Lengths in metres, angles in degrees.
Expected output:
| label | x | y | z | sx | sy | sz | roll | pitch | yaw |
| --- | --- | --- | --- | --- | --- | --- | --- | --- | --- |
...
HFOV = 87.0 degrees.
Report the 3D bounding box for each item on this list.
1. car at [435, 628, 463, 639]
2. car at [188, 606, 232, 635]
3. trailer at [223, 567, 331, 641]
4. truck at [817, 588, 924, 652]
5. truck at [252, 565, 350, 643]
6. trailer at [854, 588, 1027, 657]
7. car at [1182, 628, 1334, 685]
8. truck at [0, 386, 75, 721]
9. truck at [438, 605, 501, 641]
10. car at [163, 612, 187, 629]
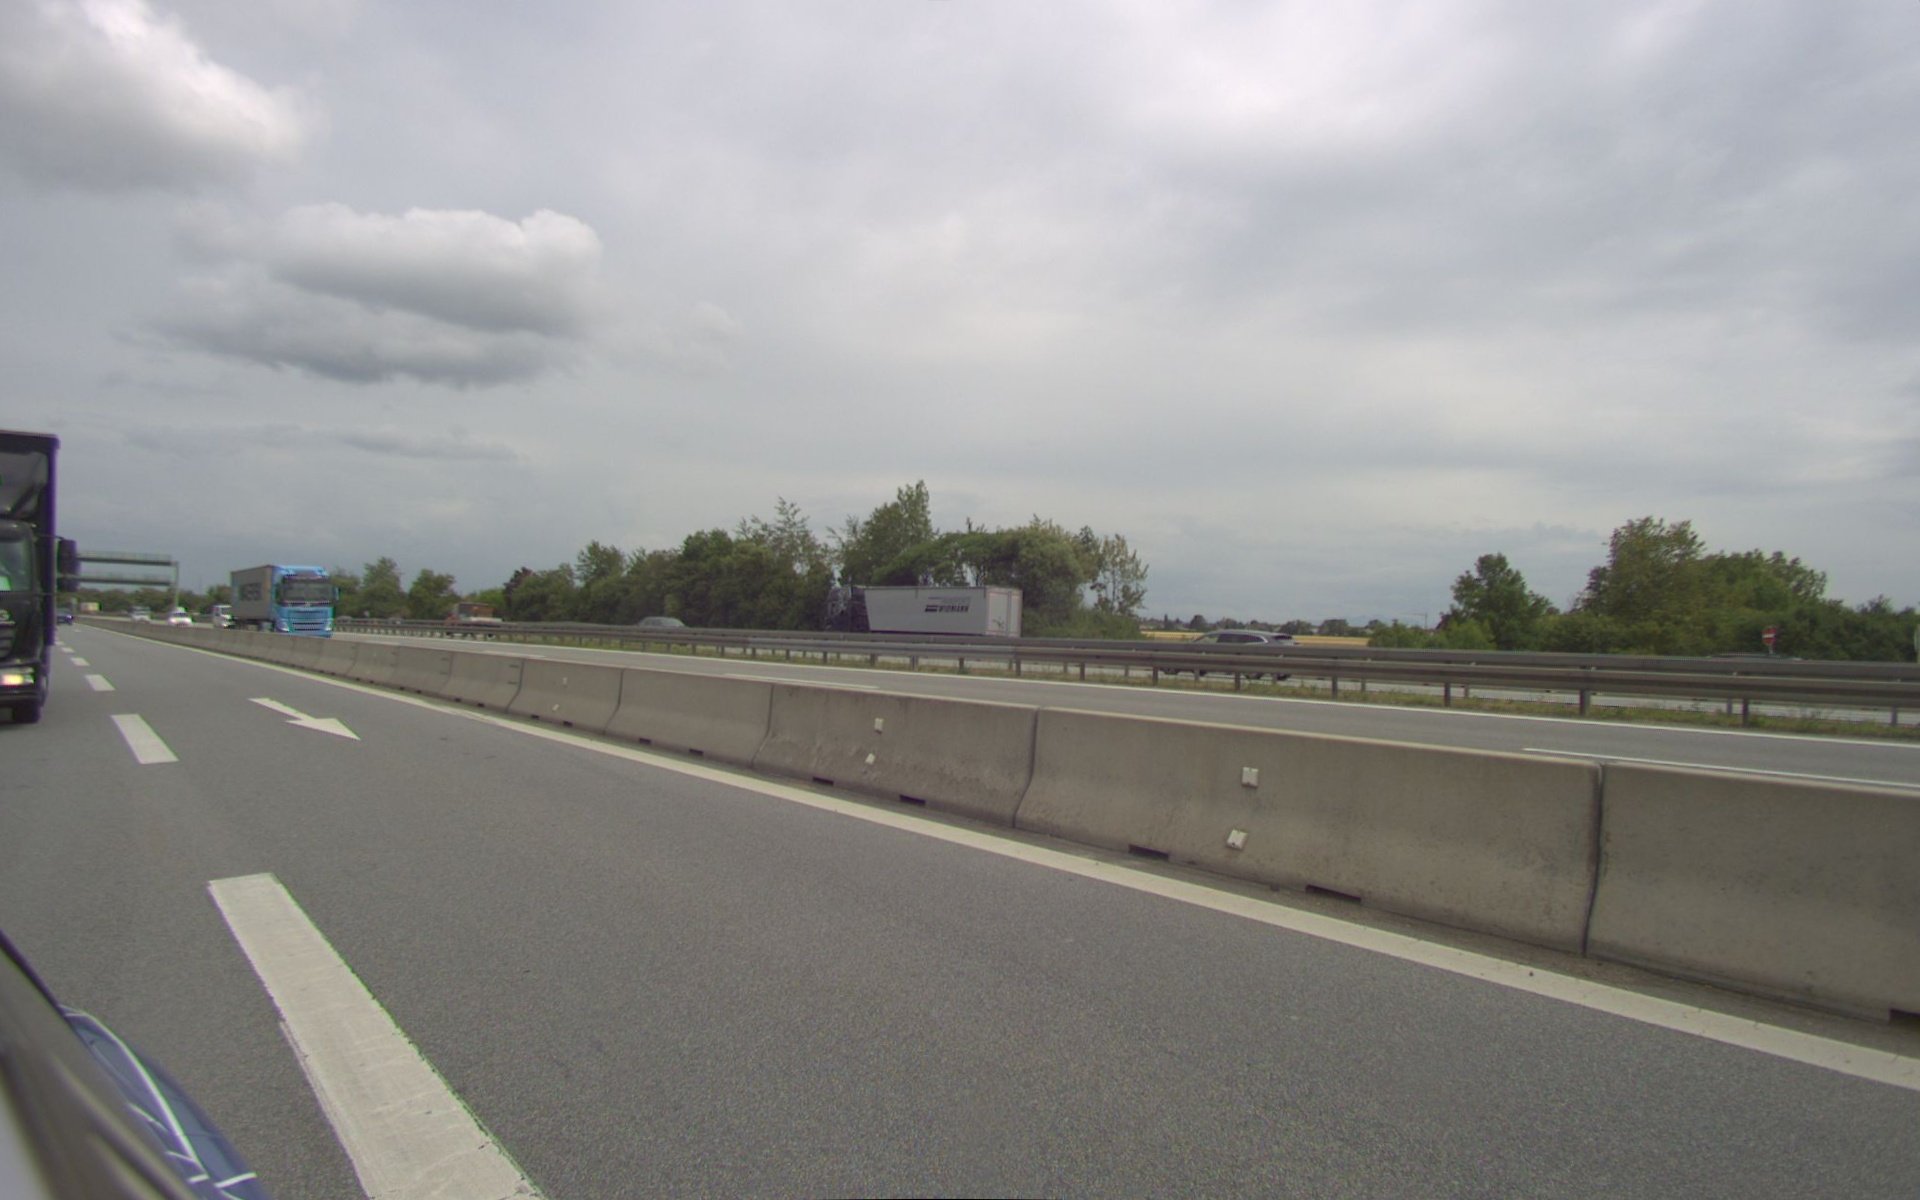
| label | x | y | z | sx | sy | sz | roll | pitch | yaw |
| --- | --- | --- | --- | --- | --- | --- | --- | --- | --- |
| car | -55.679 | 3.653 | 110.236 | 1.667 | 1.201 | 4.007 | 1 | -2 | -44 |
| car | -54.082 | 1.448 | 72.948 | 1.976 | 1.952 | 5.136 | 0 | 0 | -44 |
| trailer | -40.422 | 0.243 | 59.627 | 3.198 | 3.954 | 12.389 | 0 | -1 | -44 |
| truck | -5.082 | 1.120 | 56.844 | 3.114 | 3.355 | 5.626 | 1 | -2 | -45 |
| truck | -35.693 | 0.225 | 54.703 | 3.209 | 3.941 | 6.614 | 1 | -1 | -44 |
| trailer | -1.208 | 1.123 | 52.957 | 9.829 | 3.294 | 3.161 | -1 | -1 | 45 |
| car | 8.696 | 1.602 | 29.754 | 1.667 | 1.496 | 4.008 | 1 | -1 | -43 |
| truck | -15.527 | -0.519 | 15.250 | 2.981 | 3.984 | 10.351 | 1 | -1 | -43 |
| truck | -34.453 | 1.614 | 70.993 | 2.249 | 2.388 | 6.207 | 2 | -2 | -43 |
| car | -70.818 | 1.884 | 91.321 | 1.659 | 1.496 | 3.781 | 1 | -2 | -39 |
